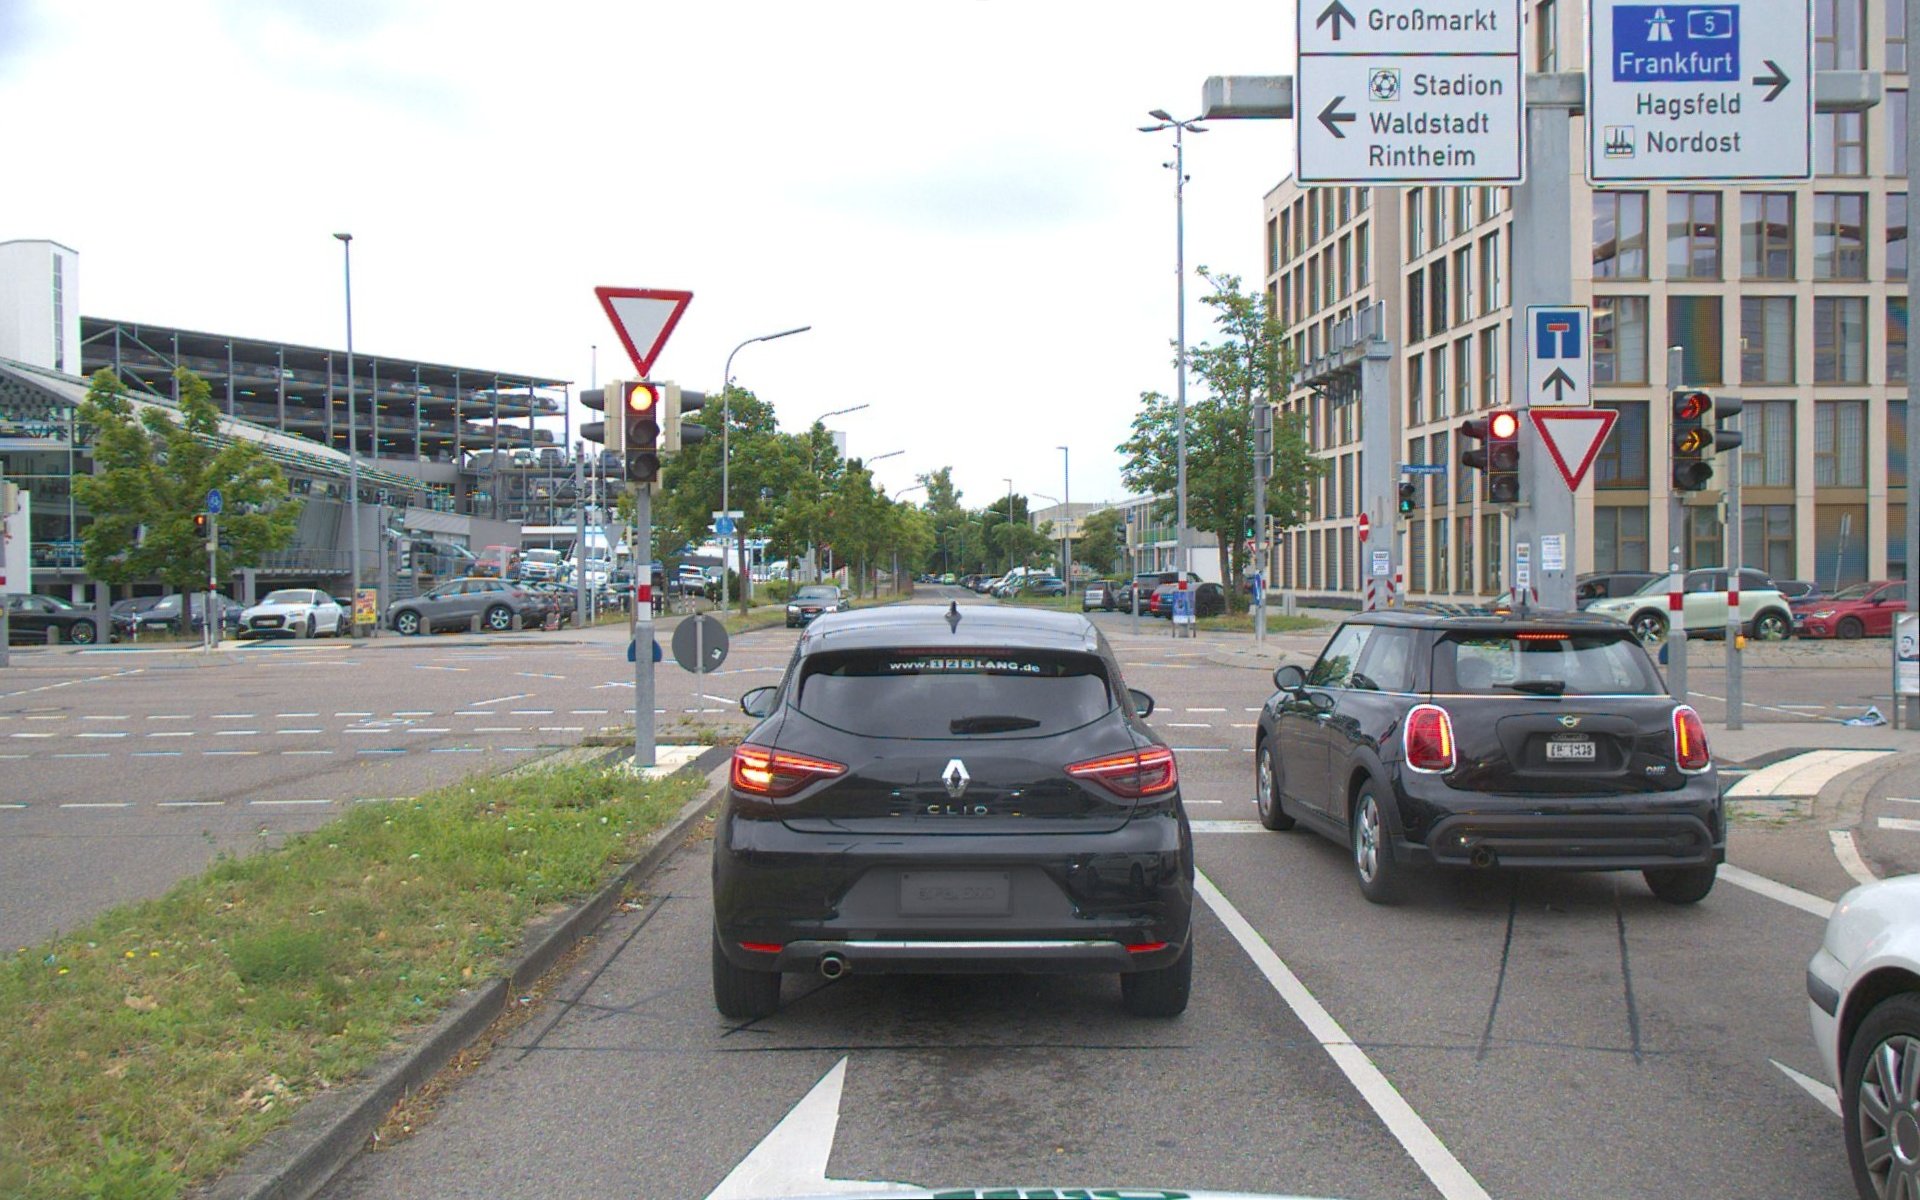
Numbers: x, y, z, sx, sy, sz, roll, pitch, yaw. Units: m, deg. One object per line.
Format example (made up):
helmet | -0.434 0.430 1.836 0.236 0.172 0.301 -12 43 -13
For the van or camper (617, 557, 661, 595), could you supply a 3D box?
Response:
van or camper | -18.282 -1.353 94.396 1.954 2.049 3.996 1 0 -4

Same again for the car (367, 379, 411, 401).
car | -55.890 -20.516 161.833 3.914 1.696 1.996 1 1 31

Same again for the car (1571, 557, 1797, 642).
car | 15.229 -0.009 34.901 3.977 1.672 1.903 1 0 -6

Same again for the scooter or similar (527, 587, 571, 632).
scooter or similar | -11.901 0.266 47.899 0.545 1.240 1.561 2 1 13

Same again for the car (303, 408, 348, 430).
car | -59.645 -17.035 155.534 3.914 1.696 1.996 1 1 31

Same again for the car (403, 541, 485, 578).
car | -28.014 -2.179 89.838 3.908 1.870 1.759 1 0 -4

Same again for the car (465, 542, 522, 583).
car | -23.427 -1.859 83.207 1.954 1.881 3.996 1 0 -4

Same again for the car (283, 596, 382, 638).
car | -29.107 0.786 76.785 3.911 1.870 1.757 1 0 -7

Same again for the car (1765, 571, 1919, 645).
car | 21.269 0.198 38.699 3.908 1.629 1.998 1 0 -4

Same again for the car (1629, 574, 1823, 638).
car | 19.305 0.155 41.775 4.055 1.517 1.870 1 0 -5

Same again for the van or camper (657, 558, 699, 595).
van or camper | -16.129 -1.315 94.620 1.954 2.049 3.996 1 0 -4

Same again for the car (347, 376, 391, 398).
car | -57.134 -20.553 159.990 3.914 1.696 1.996 1 1 31

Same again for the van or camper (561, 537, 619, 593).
van or camper | -21.070 -1.957 94.364 2.486 3.079 4.839 1 0 -4

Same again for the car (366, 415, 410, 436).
car | -55.954 -17.096 161.763 3.914 1.696 1.996 1 1 31

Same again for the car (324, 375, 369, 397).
car | -58.477 -20.397 157.668 3.914 1.696 1.996 1 1 31

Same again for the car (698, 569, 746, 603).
car | -12.055 -0.666 83.984 1.954 1.646 3.998 1 0 -3

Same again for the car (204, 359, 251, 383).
car | -64.944 -20.274 146.604 3.914 1.696 1.996 1 1 31

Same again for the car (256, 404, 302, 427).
car | -62.283 -16.842 151.182 3.914 1.696 1.996 1 1 31

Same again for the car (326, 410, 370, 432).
car | -58.350 -17.071 157.679 3.914 1.696 1.996 1 1 31

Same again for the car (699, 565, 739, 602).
car | -13.769 -0.915 94.860 1.954 2.049 3.996 1 0 -4

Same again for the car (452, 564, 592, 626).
car | -16.208 -0.178 61.418 4.683 2.049 1.997 -2 0 -7

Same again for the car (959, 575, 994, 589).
car | 2.238 -2.488 229.921 4.690 1.924 2.142 1 0 -3

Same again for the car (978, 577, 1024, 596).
car | 4.361 -1.431 175.640 4.690 1.924 2.142 1 0 -3

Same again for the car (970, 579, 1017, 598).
car | 3.638 -1.265 182.228 5.069 2.049 2.143 1 0 -2

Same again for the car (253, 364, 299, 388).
car | -62.456 -20.470 151.086 3.914 1.696 1.996 1 1 31

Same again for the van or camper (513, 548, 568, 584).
van or camper | -21.022 -1.700 83.004 1.954 1.680 3.996 1 0 -4

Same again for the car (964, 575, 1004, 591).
car | 3.160 -2.206 218.626 5.069 2.049 2.143 1 0 -2

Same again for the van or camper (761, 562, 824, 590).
van or camper | -15.227 -2.186 150.578 5.486 2.413 1.999 1 0 -2

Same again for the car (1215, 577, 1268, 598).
car | 18.932 -0.828 111.191 3.182 1.356 1.477 1 0 -20

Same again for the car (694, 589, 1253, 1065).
car | 0.017 0.717 7.159 1.721 1.460 3.999 1 0 -1

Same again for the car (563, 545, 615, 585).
car | -18.606 -1.743 83.168 1.954 1.855 3.996 1 0 -4

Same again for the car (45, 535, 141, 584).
car | -32.730 -1.496 62.550 1.784 1.691 3.995 1 0 -5

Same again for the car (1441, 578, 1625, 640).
car | 14.339 0.229 41.474 4.005 1.457 1.749 1 0 -5

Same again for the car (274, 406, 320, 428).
car | -61.425 -16.956 153.277 3.914 1.696 1.996 1 1 31

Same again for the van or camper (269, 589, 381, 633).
van or camper | -26.395 0.477 68.850 3.909 1.741 1.845 1 0 -5

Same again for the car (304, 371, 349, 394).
car | -59.592 -20.425 155.639 3.914 1.696 1.996 1 1 31

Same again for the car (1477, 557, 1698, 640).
car | 14.435 -0.029 38.192 4.321 1.800 1.998 1 0 -5

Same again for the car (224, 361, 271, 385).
car | -64.008 -20.403 148.667 3.914 1.696 1.996 1 1 31

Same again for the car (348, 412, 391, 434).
car | -57.089 -17.096 159.893 3.914 1.696 1.996 1 1 31

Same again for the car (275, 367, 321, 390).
car | -61.219 -20.441 152.973 3.914 1.696 1.996 1 1 31

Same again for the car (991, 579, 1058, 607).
car | 5.007 -0.537 129.049 5.070 2.049 2.142 1 0 -3

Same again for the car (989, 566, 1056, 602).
car | 5.735 -1.497 151.672 5.993 3.171 2.133 1 0 -2

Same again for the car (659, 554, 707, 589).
car | -13.963 -1.430 83.542 1.954 1.646 3.996 1 0 -4
